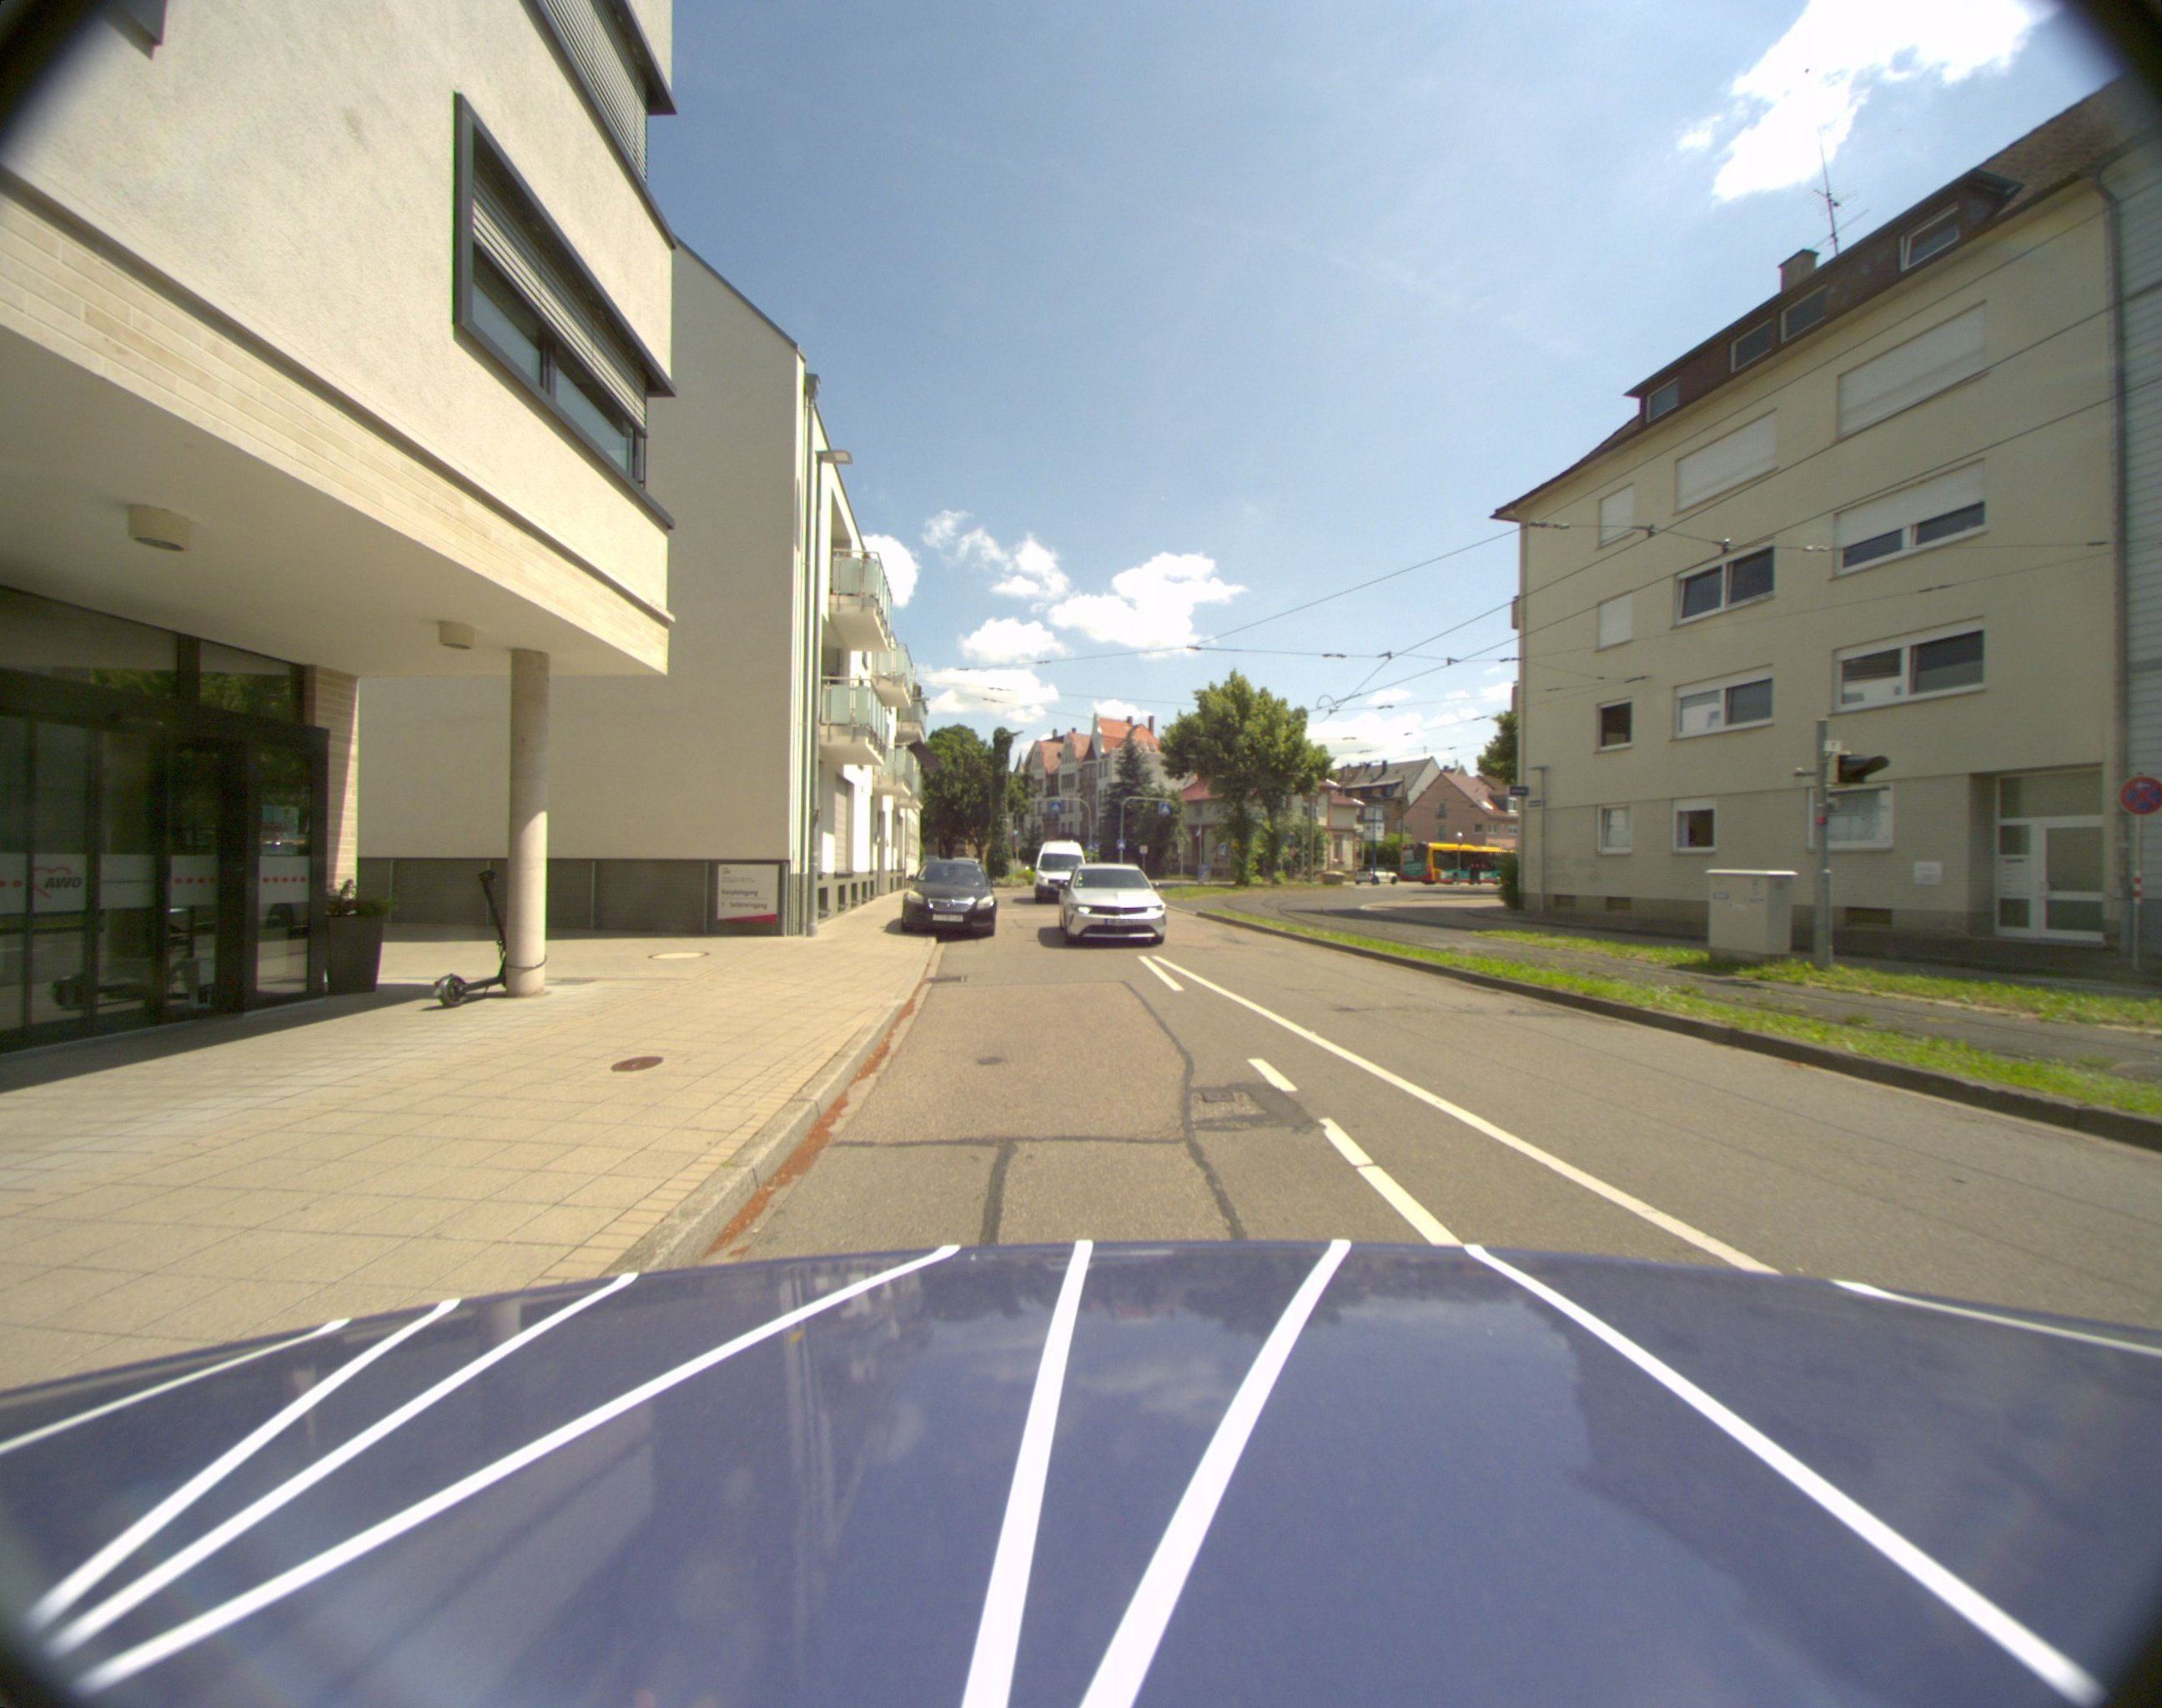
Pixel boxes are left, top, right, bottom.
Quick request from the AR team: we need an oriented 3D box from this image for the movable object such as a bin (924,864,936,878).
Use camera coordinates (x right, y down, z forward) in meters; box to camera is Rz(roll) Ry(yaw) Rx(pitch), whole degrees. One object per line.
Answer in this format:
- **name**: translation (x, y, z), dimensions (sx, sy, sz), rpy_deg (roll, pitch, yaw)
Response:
- **movable object such as a bin**: translation (-10.414, 1.163, 52.418), dimensions (0.616, 0.955, 0.634), rpy_deg (0, 0, 8)

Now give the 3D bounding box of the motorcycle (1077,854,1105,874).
- **motorcycle**: translation (0.551, 0.550, 40.980), dimensions (0.667, 1.051, 1.439), rpy_deg (0, 0, 44)

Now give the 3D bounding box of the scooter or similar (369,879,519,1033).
- **scooter or similar**: translation (-5.661, 0.852, 6.838), dimensions (0.423, 1.204, 1.313), rpy_deg (0, 0, -10)

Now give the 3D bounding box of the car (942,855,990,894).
- **car**: translation (-5.364, 0.917, 35.923), dimensions (1.731, 1.601, 3.799), rpy_deg (2, 1, -1)

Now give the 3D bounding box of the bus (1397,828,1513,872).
- **bus**: translation (29.472, -0.241, 59.611), dimensions (10.877, 3.277, 2.702), rpy_deg (0, -1, -31)

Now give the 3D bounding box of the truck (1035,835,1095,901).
- **truck**: translation (-0.566, 0.476, 28.276), dimensions (2.020, 2.236, 5.407), rpy_deg (0, 0, -1)

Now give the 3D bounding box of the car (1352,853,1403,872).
- **car**: translation (23.334, 0.676, 59.794), dimensions (3.753, 1.455, 1.774), rpy_deg (0, 1, -32)

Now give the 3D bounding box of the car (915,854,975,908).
- **car**: translation (-4.099, 0.766, 23.253), dimensions (1.598, 1.424, 3.703), rpy_deg (3, 0, -9)

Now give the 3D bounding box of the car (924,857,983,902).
- **car**: translation (-4.668, 0.905, 28.232), dimensions (1.732, 1.424, 4.040), rpy_deg (3, 0, -4)

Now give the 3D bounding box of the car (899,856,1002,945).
- **car**: translation (-2.811, 0.876, 16.319), dimensions (1.806, 1.500, 4.543), rpy_deg (3, 0, -10)

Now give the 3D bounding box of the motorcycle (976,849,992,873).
- **motorcycle**: translation (-5.614, 0.398, 44.132), dimensions (0.802, 1.344, 2.337), rpy_deg (-1, 0, -4)

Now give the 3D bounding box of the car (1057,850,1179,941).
- **car**: translation (0.551, 0.680, 14.778), dimensions (1.802, 1.458, 4.168), rpy_deg (0, 1, -5)

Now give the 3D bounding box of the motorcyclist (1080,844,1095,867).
- **motorcyclist**: translation (0.342, 0.079, 40.268), dimensions (0.539, 1.236, 0.556), rpy_deg (0, 1, 44)
